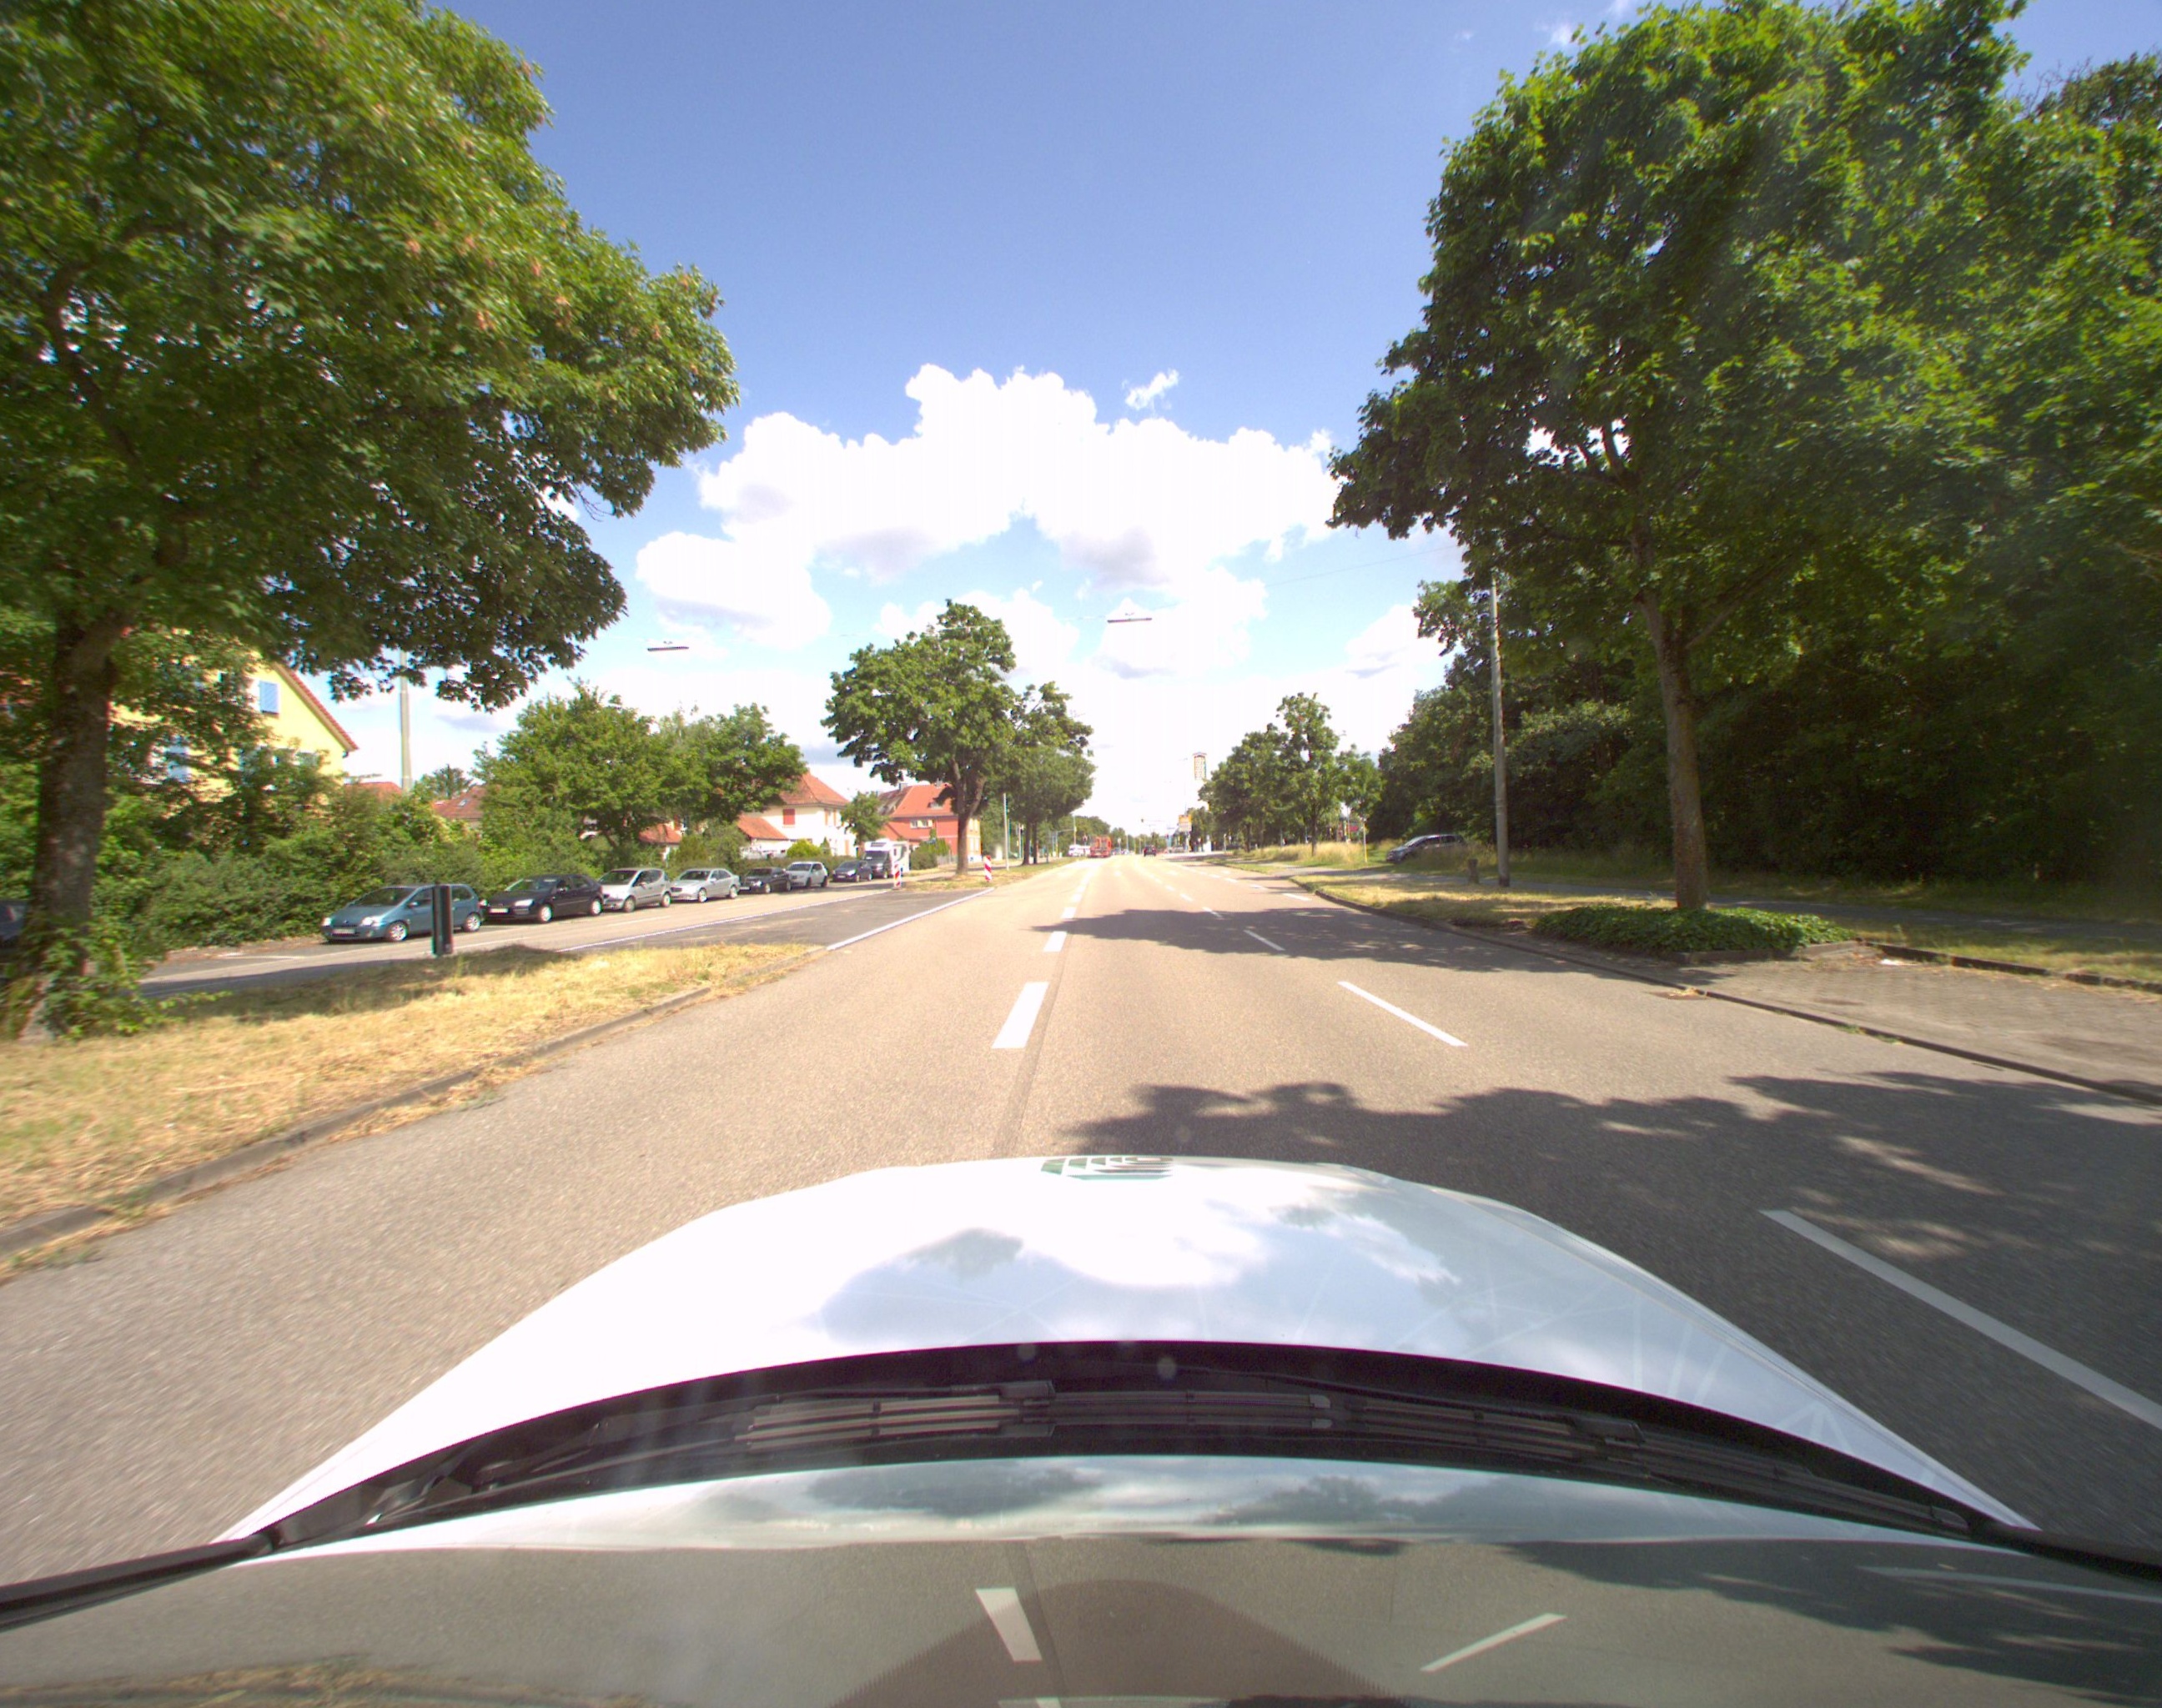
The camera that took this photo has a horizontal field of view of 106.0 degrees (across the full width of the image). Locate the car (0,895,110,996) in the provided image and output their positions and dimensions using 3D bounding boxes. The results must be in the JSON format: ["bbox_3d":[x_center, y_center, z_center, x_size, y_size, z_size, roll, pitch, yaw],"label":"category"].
[{"bbox_3d":[-17.668,1.478,12.034,1.654,1.481,4.104,0,1,1],"label":"car"}]

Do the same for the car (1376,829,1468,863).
[{"bbox_3d":[18.363,-0.453,43.951,4.155,1.493,1.782,-5,2,-4],"label":"car"}]

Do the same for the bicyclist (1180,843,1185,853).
[{"bbox_3d":[16.132,-0.971,129.391,0.643,1.661,0.653,0,-1,19],"label":"bicyclist"}]

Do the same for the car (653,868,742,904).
[{"bbox_3d":[-16.591,1.348,35.480,1.504,1.370,4.536,0,0,4],"label":"car"}]

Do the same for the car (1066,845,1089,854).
[{"bbox_3d":[-0.571,-0.797,144.593,3.972,1.651,1.733,0,-1,1],"label":"car"}]

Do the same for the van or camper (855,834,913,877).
[{"bbox_3d":[-15.193,0.054,63.417,2.249,3.112,7.328,0,1,4],"label":"van or camper"}]

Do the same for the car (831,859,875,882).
[{"bbox_3d":[-15.565,1.094,55.695,1.629,1.485,3.996,0,0,4],"label":"car"}]

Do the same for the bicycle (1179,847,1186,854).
[{"bbox_3d":[16.197,-0.559,129.572,0.642,1.107,1.937,0,0,20],"label":"bicycle"}]

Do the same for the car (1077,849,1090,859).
[{"bbox_3d":[0.416,0.013,129.756,1.725,1.508,4.657,-5,-1,4],"label":"car"}]

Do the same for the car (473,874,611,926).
[{"bbox_3d":[-17.099,1.410,26.108,1.397,1.395,4.359,0,0,2],"label":"car"}]

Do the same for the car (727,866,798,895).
[{"bbox_3d":[-16.346,1.306,42.058,1.629,1.306,4.589,0,1,4],"label":"car"}]

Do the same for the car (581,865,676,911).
[{"bbox_3d":[-16.987,1.233,30.750,1.397,1.557,3.744,0,0,2],"label":"car"}]

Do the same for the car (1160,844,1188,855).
[{"bbox_3d":[12.826,-0.659,112.770,3.578,1.442,1.469,0,-1,-15],"label":"car"}]

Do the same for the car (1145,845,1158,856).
[{"bbox_3d":[10.172,-0.456,117.584,1.791,1.552,4.004,0,0,4],"label":"car"}]

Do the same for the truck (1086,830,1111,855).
[{"bbox_3d":[2.576,-1.623,117.519,3.057,3.414,11.079,0,0,4],"label":"truck"}]

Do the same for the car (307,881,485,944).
[{"bbox_3d":[-17.546,1.442,21.078,1.556,1.395,3.479,0,0,2],"label":"car"}]

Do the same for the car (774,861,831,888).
[{"bbox_3d":[-16.185,1.150,47.590,1.681,1.485,4.128,0,0,4],"label":"car"}]

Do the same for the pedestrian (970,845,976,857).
[{"bbox_3d":[-14.245,-0.345,107.483,0.693,1.583,0.852,0,-1,3],"label":"pedestrian"}]
